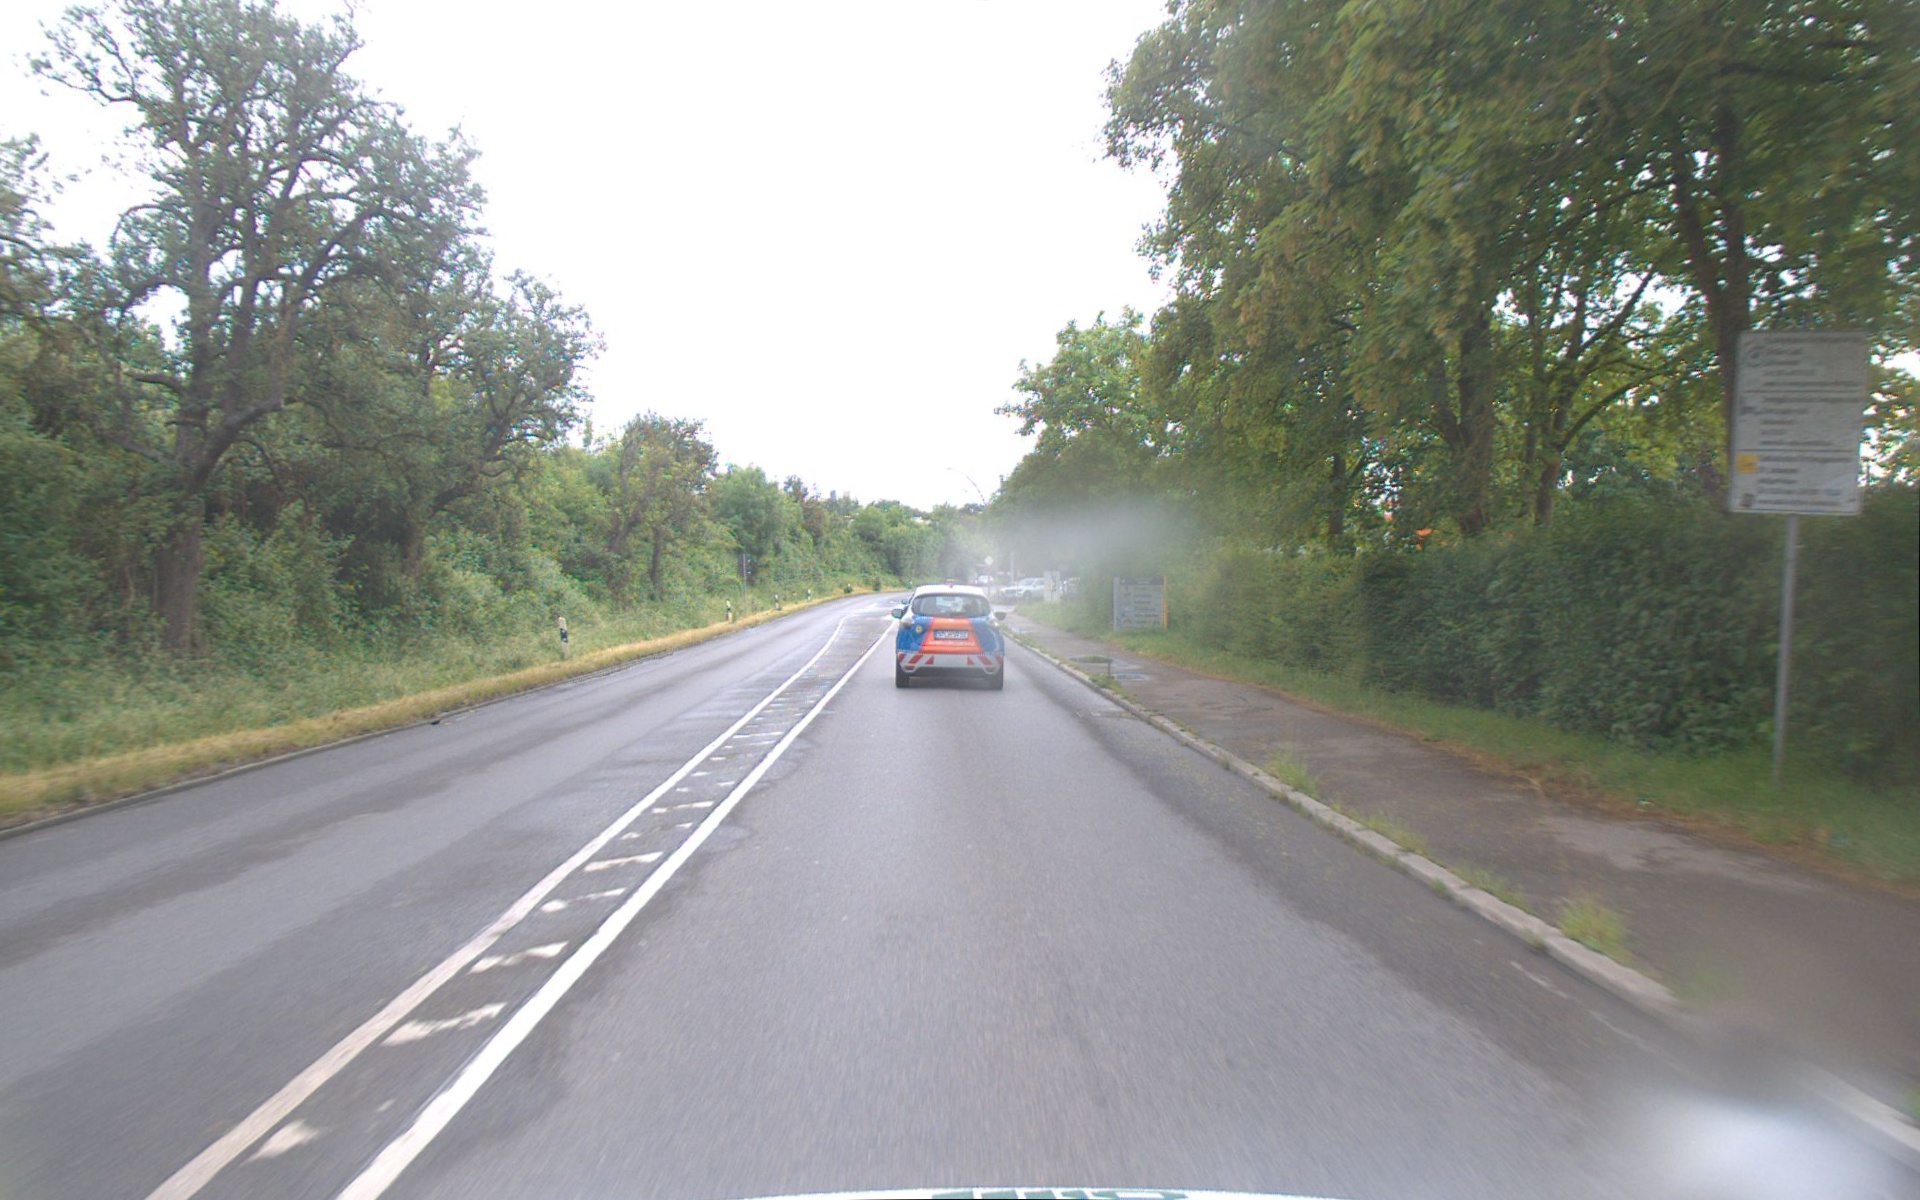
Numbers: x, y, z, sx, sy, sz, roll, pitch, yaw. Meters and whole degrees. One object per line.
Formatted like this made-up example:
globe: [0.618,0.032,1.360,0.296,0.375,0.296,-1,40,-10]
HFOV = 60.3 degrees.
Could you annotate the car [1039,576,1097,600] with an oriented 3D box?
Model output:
car: [8.021,-0.891,122.074,1.896,1.781,4.593,1,1,41]

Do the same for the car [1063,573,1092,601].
car: [8.115,-0.876,114.513,1.788,1.861,4.264,2,0,1]

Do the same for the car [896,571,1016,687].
car: [-0.108,0.442,26.795,1.769,1.697,3.854,2,0,-2]

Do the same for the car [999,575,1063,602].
car: [5.053,-0.824,117.067,2.001,1.782,4.587,2,0,44]

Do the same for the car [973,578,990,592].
car: [2.996,-2.105,231.080,1.658,1.822,3.859,2,0,11]

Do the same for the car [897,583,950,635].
car: [-1.204,0.286,54.954,1.659,1.623,3.855,2,0,-1]
